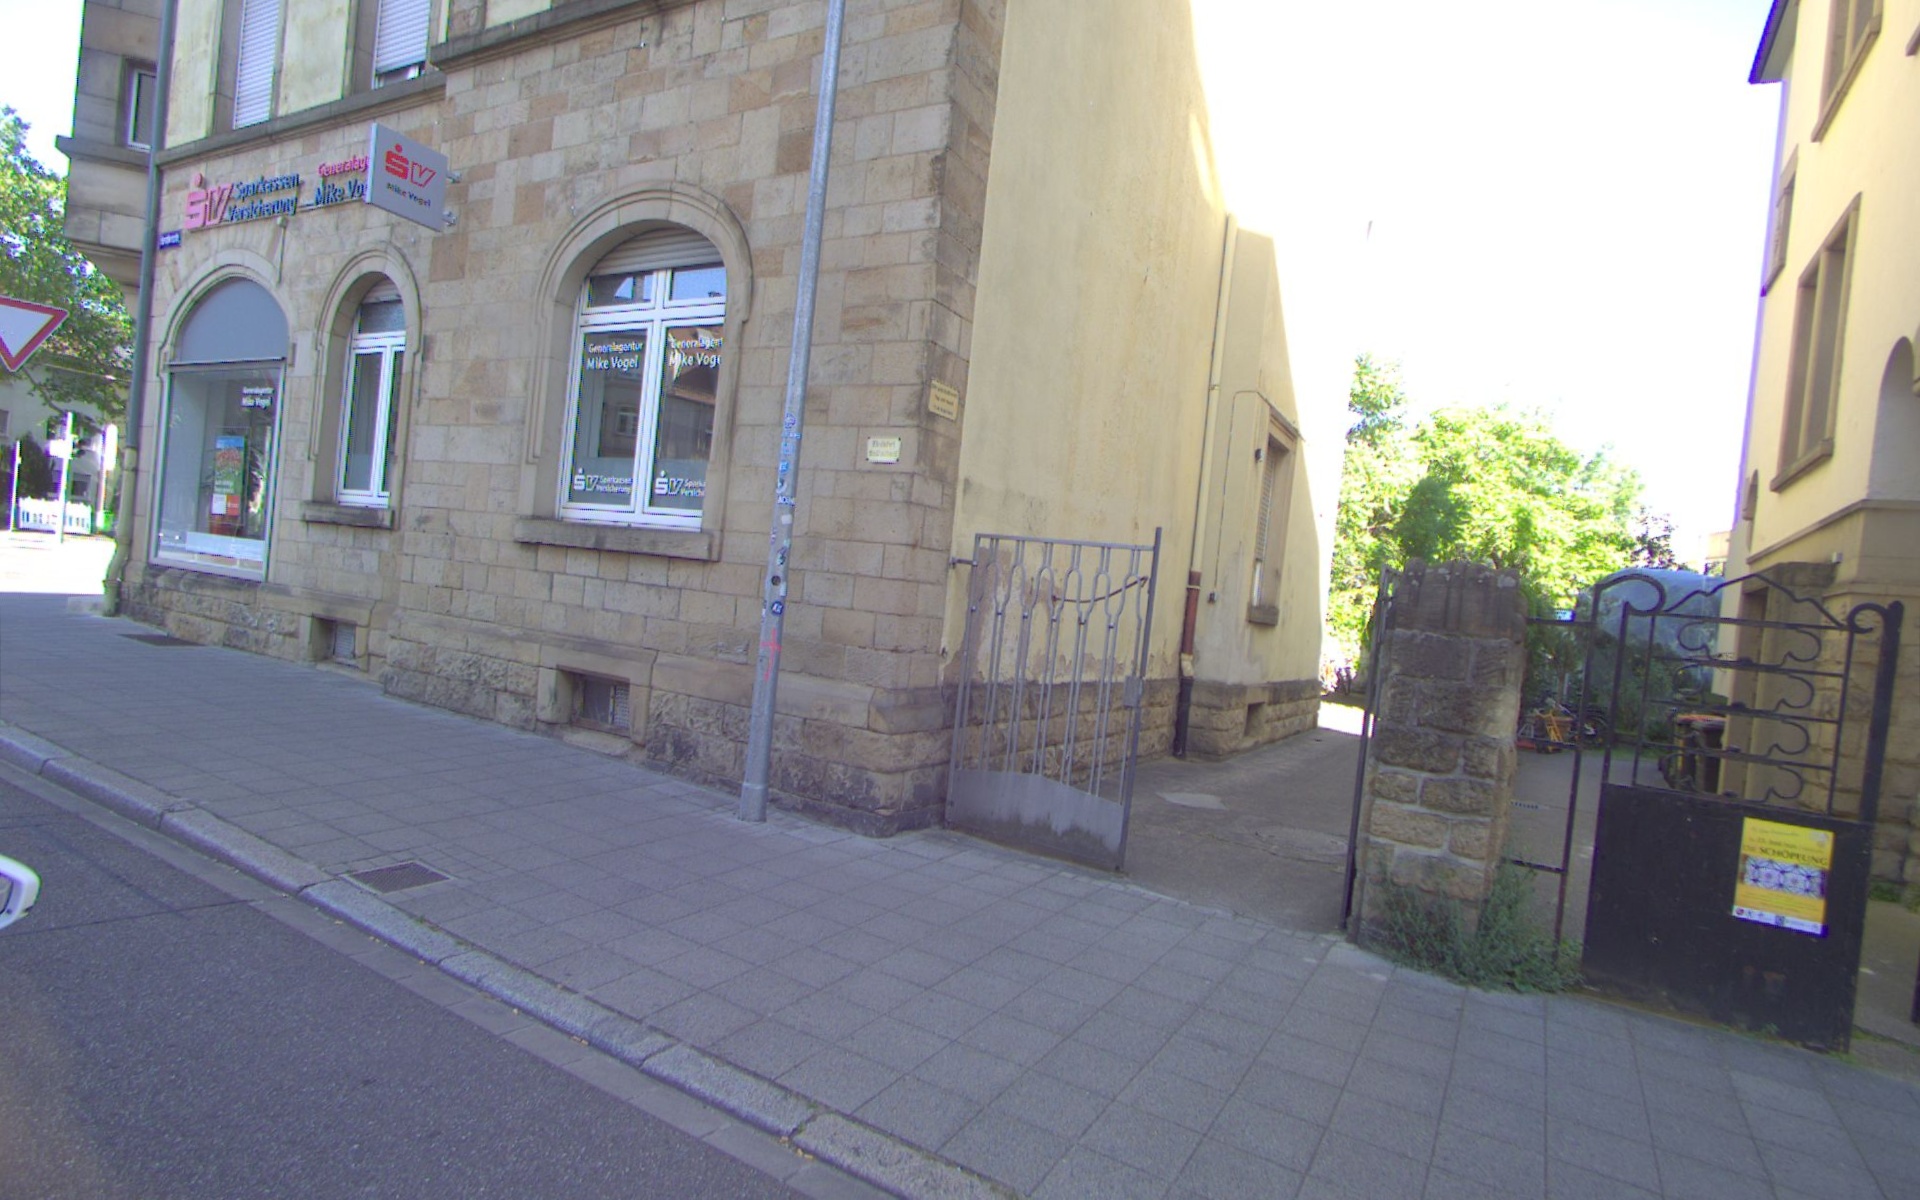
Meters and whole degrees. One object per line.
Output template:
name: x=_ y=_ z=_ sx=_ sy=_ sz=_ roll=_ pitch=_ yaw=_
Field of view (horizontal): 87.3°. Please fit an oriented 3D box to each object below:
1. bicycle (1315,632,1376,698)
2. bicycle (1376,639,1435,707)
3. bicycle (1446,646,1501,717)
bicycle: x=9.980 y=1.646 z=25.968 sx=0.904 sy=1.532 sz=2.667 roll=6 pitch=2 yaw=31
bicycle: x=11.214 y=1.782 z=25.251 sx=0.904 sy=1.532 sz=2.667 roll=6 pitch=2 yaw=31
bicycle: x=12.599 y=1.941 z=24.638 sx=0.904 sy=1.532 sz=2.667 roll=6 pitch=2 yaw=31
